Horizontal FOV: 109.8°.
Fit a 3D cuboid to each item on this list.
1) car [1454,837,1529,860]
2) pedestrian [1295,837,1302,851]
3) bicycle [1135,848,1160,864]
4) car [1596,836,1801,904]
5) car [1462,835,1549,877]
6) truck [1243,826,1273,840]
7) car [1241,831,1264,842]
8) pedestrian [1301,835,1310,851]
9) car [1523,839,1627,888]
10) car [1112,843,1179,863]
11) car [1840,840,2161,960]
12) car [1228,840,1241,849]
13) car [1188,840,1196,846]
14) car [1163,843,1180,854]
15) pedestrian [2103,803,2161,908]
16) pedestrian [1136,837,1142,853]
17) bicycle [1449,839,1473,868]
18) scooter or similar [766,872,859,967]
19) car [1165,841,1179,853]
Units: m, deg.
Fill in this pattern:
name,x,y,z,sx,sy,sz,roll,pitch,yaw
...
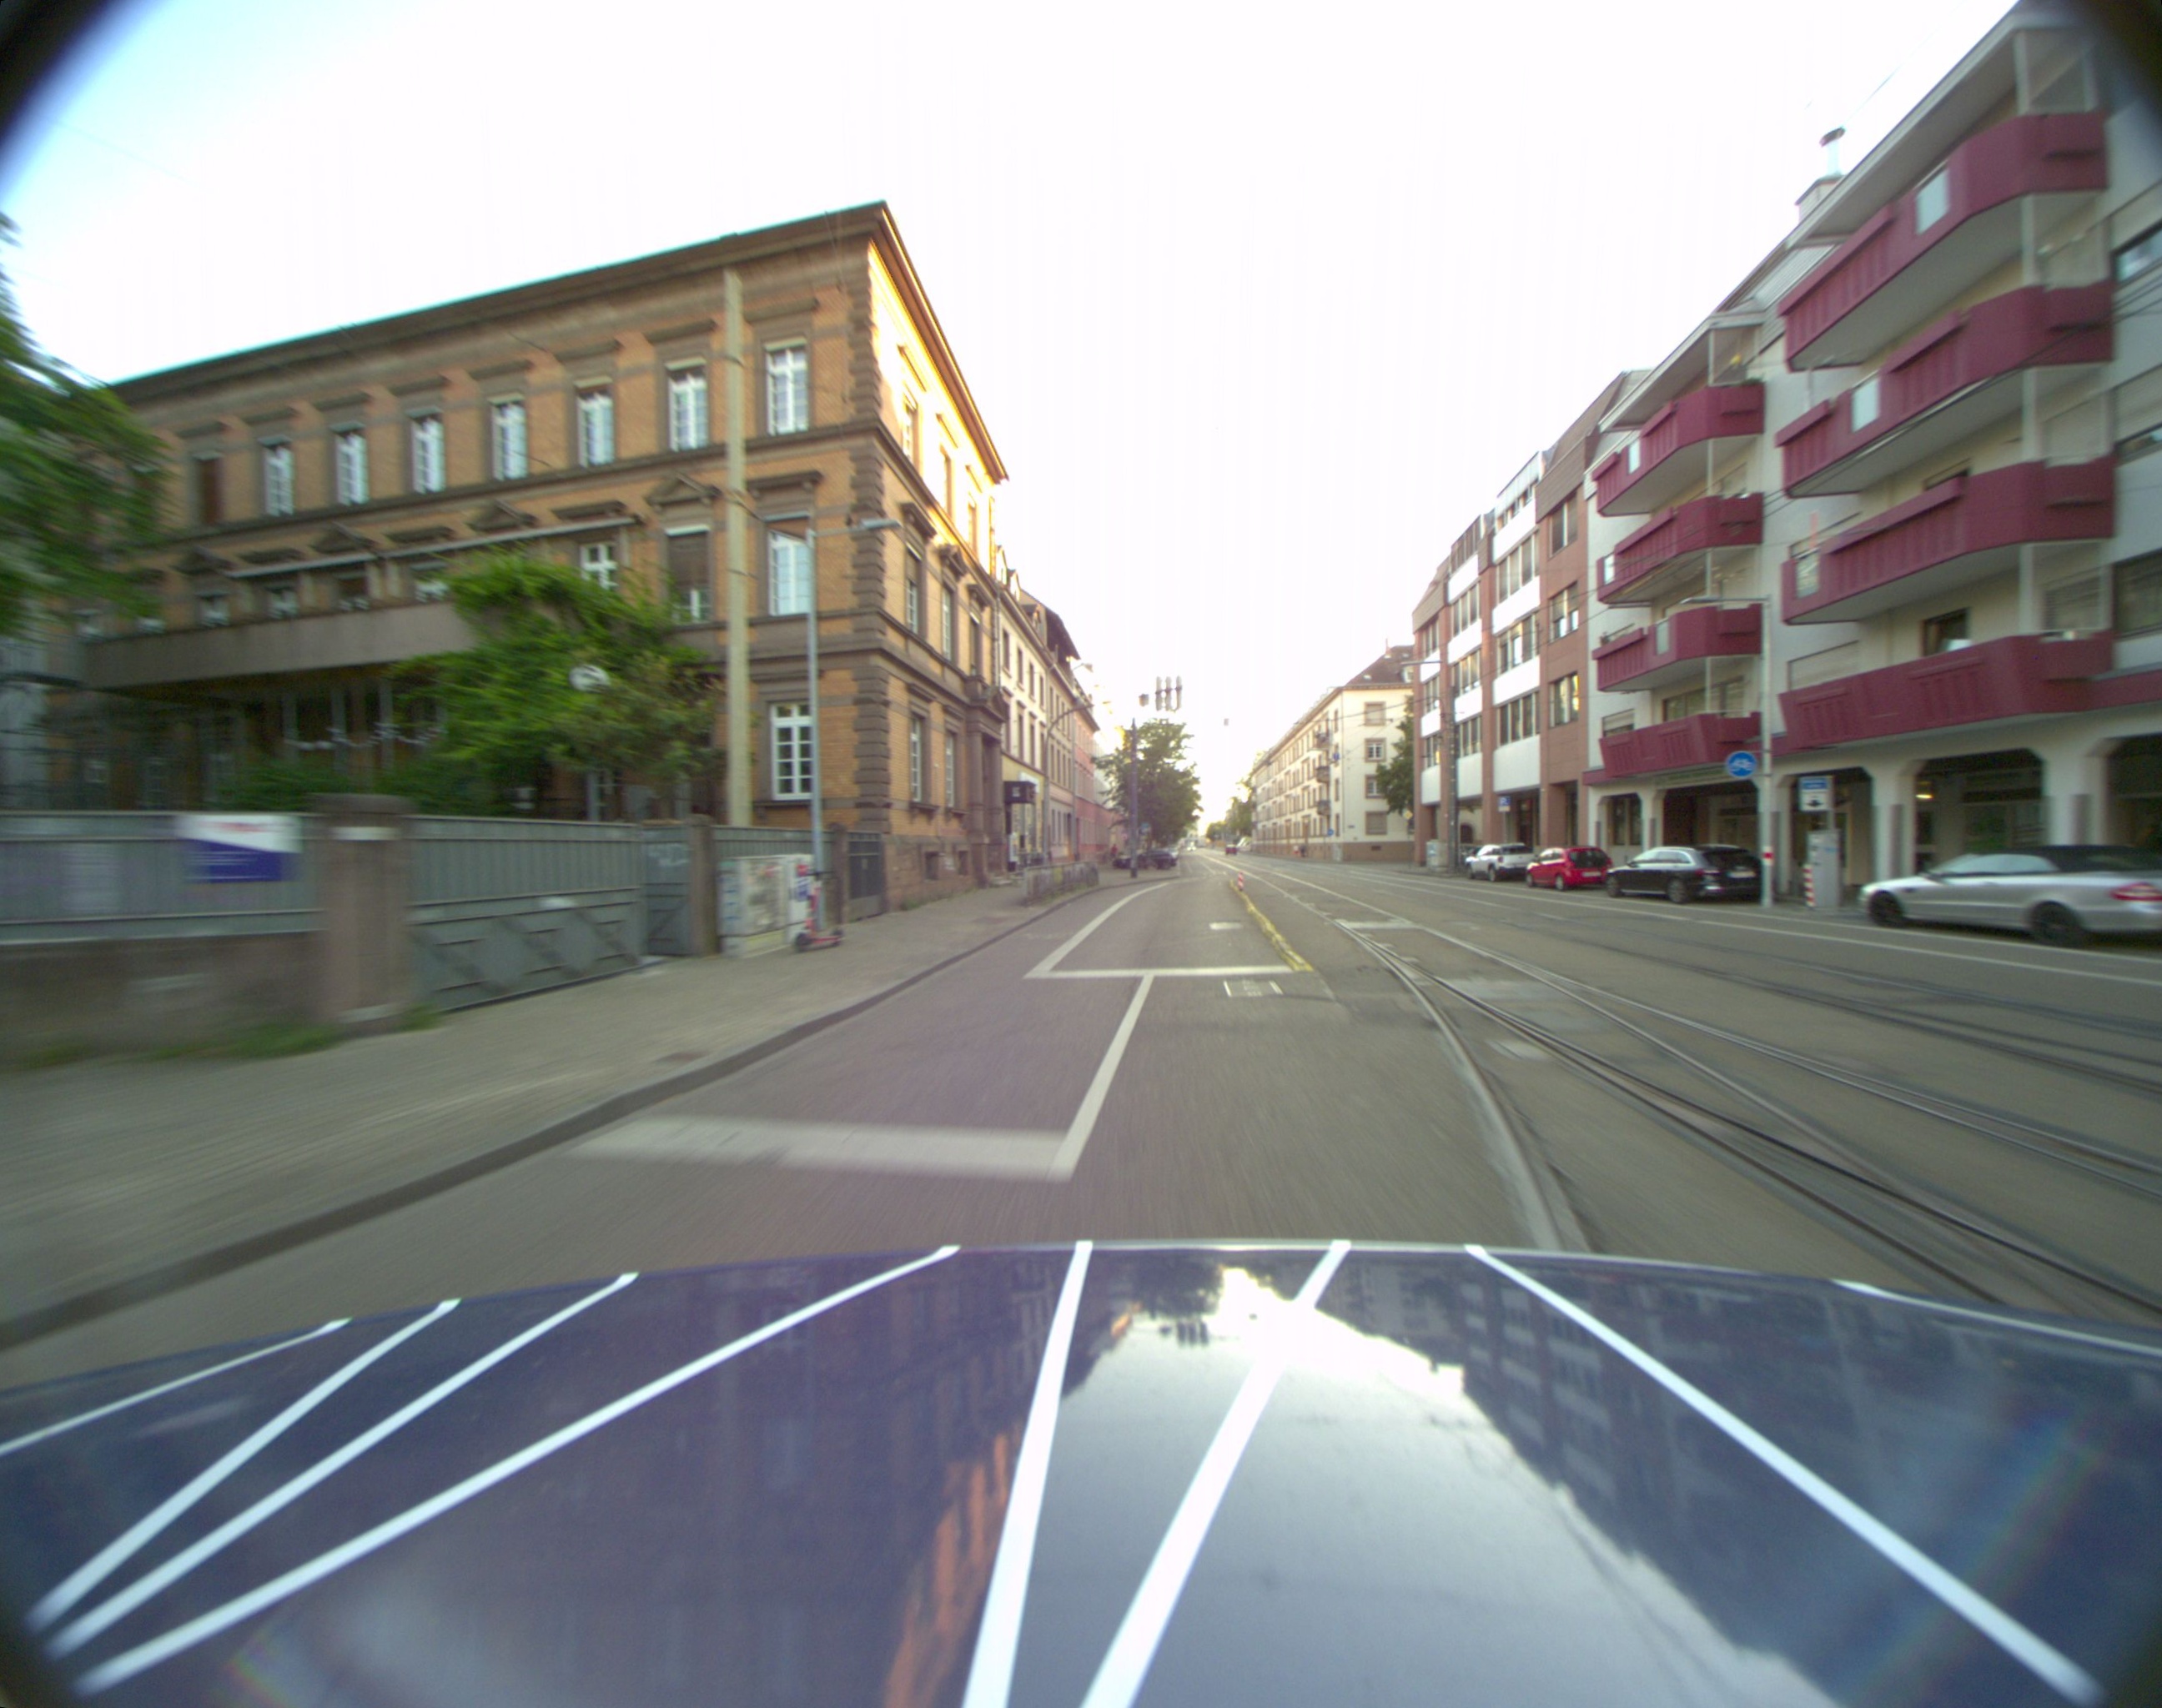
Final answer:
name,x,y,z,sx,sy,sz,roll,pitch,yaw
car,27.851,-0.389,51.636,3.997,1.496,1.923,-1,3,0
pedestrian,24.457,-1.138,85.328,0.592,1.600,0.811,-1,1,5
bicycle,4.719,0.140,54.037,1.693,1.095,0.928,1,1,7
car,15.895,0.337,19.944,1.998,1.471,4.483,-3,1,5
car,17.556,0.045,31.634,1.720,1.547,4.205,-2,1,8
truck,45.390,-5.411,194.673,7.073,3.408,2.567,-2,1,4
car,42.579,-4.260,189.080,5.230,2.582,2.230,-2,1,4
pedestrian,25.147,-1.218,85.139,0.797,1.692,0.982,-1,1,5
car,16.582,0.259,25.676,1.614,1.471,3.481,-3,1,9
car,4.800,-0.085,56.190,4.623,1.449,1.708,0,1,-17
car,14.568,0.540,11.685,1.694,1.405,4.679,-3,1,10
car,24.929,-1.552,123.422,1.562,1.549,3.756,0,1,5
car,32.143,-3.253,219.960,1.997,1.674,4.002,-2,0,7
car,11.152,-0.696,93.174,1.783,1.373,4.693,1,1,10
pedestrian,20.517,0.018,14.777,0.524,2.002,0.528,-1,1,3
pedestrian,6.854,-1.053,89.874,0.682,1.806,0.600,-1,1,8
bicycle,18.243,-0.049,36.526,0.609,1.370,2.260,-1,1,15
scooter or similar,-3.990,0.932,11.421,0.642,1.259,1.583,1,1,8
car,10.485,-0.809,87.545,1.622,1.373,3.777,1,1,7
